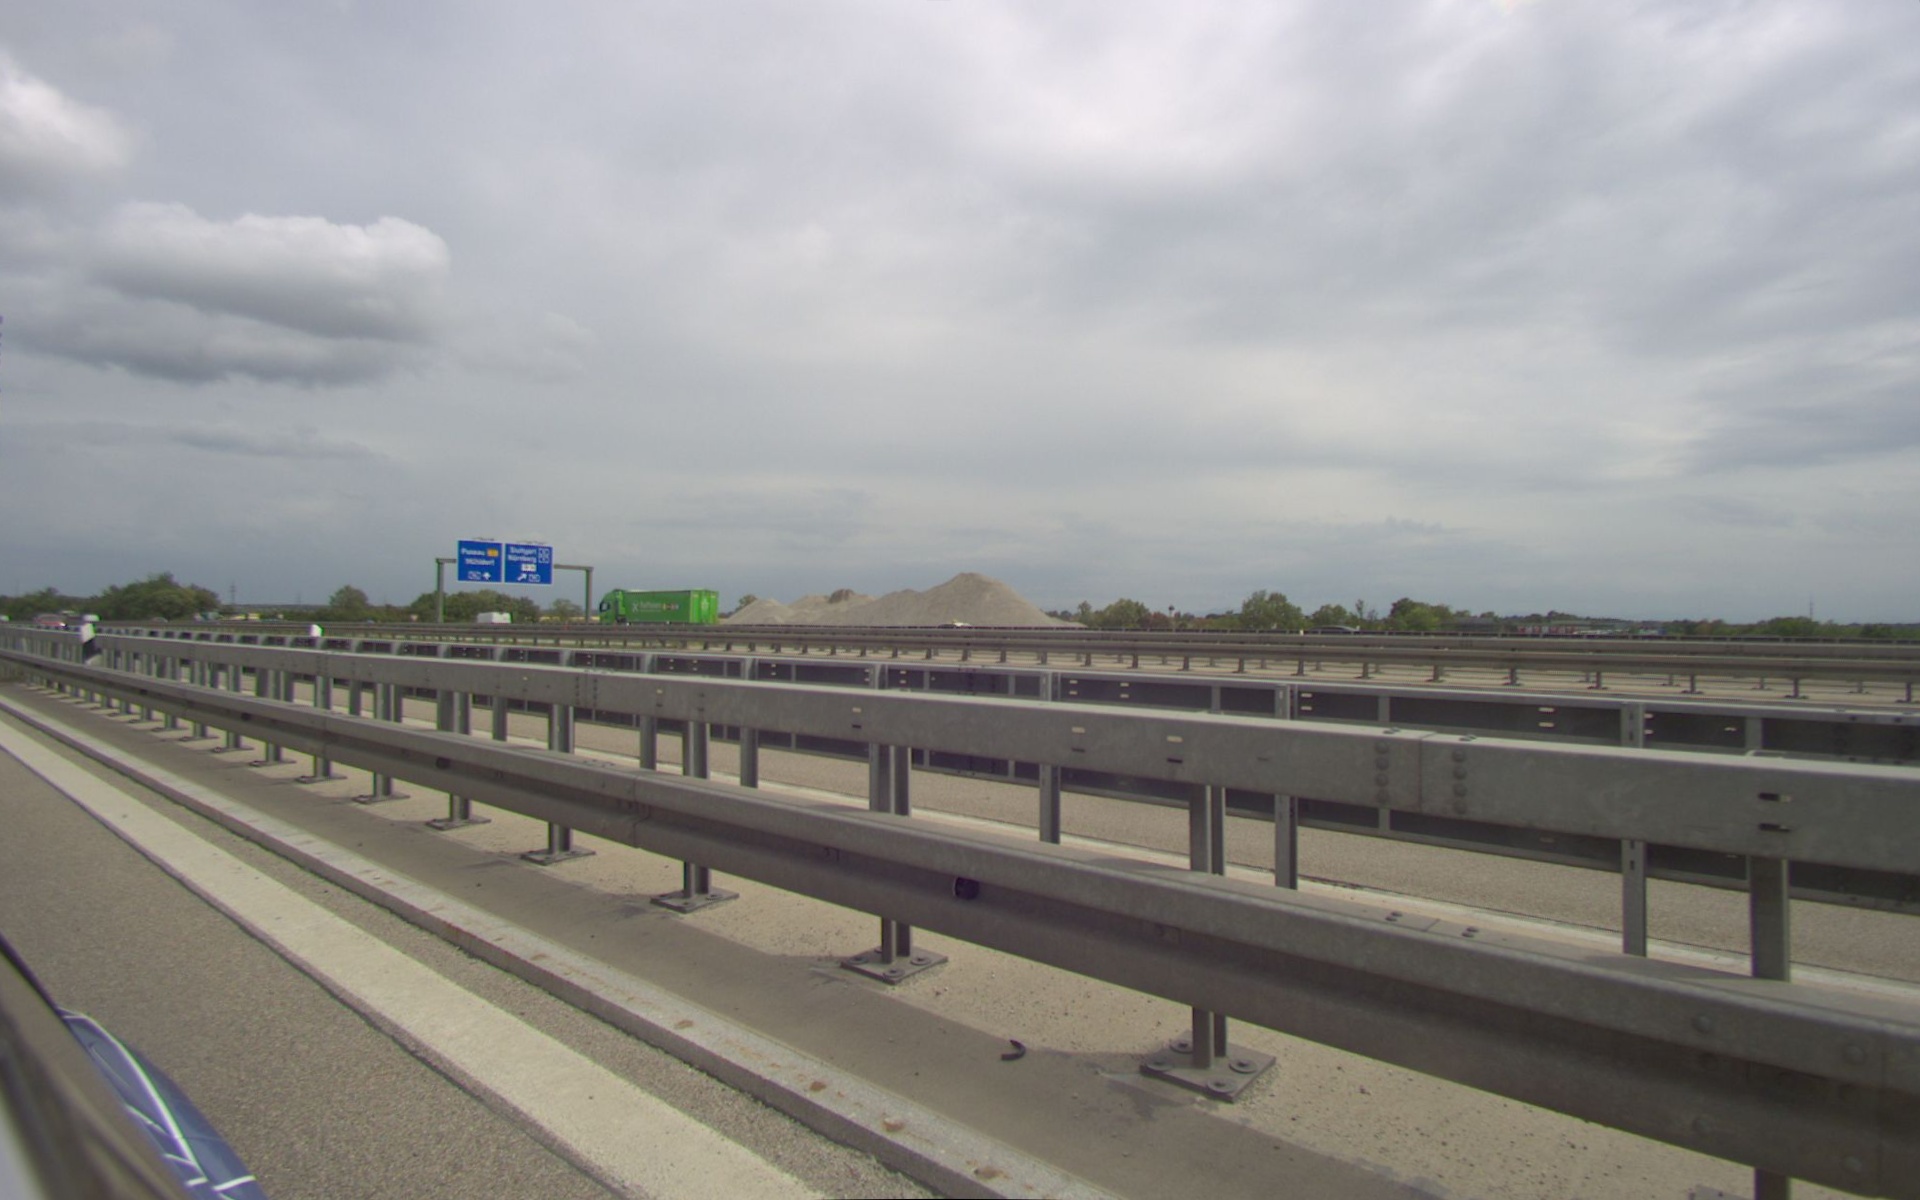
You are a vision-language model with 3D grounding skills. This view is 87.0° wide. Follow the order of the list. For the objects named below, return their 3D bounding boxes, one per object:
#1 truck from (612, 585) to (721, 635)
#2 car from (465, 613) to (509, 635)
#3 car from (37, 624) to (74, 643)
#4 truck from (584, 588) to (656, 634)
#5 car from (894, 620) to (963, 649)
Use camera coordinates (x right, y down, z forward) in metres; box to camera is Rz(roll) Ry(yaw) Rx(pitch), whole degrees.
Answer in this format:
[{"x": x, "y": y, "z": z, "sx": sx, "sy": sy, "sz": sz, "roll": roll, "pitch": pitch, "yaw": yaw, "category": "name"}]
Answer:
[{"x": -22.991, "y": 0.774, "z": 78.818, "sx": 10.431, "sy": 3.662, "sz": 2.982, "roll": -1, "pitch": 0, "yaw": 41, "category": "truck"}, {"x": -50.646, "y": 2.528, "z": 108.346, "sx": 5.514, "sy": 2.240, "sz": 2.173, "roll": -1, "pitch": 0, "yaw": 41, "category": "car"}, {"x": -78.002, "y": 2.899, "z": 87.268, "sx": 4.351, "sy": 1.557, "sz": 1.801, "roll": -1, "pitch": 0, "yaw": 40, "category": "car"}, {"x": -27.967, "y": 0.864, "z": 83.145, "sx": 5.891, "sy": 3.636, "sz": 3.010, "roll": -1, "pitch": 0, "yaw": 41, "category": "truck"}, {"x": -1.902, "y": 1.996, "z": 59.586, "sx": 3.999, "sy": 1.641, "sz": 1.711, "roll": -1, "pitch": -1, "yaw": 42, "category": "car"}]
